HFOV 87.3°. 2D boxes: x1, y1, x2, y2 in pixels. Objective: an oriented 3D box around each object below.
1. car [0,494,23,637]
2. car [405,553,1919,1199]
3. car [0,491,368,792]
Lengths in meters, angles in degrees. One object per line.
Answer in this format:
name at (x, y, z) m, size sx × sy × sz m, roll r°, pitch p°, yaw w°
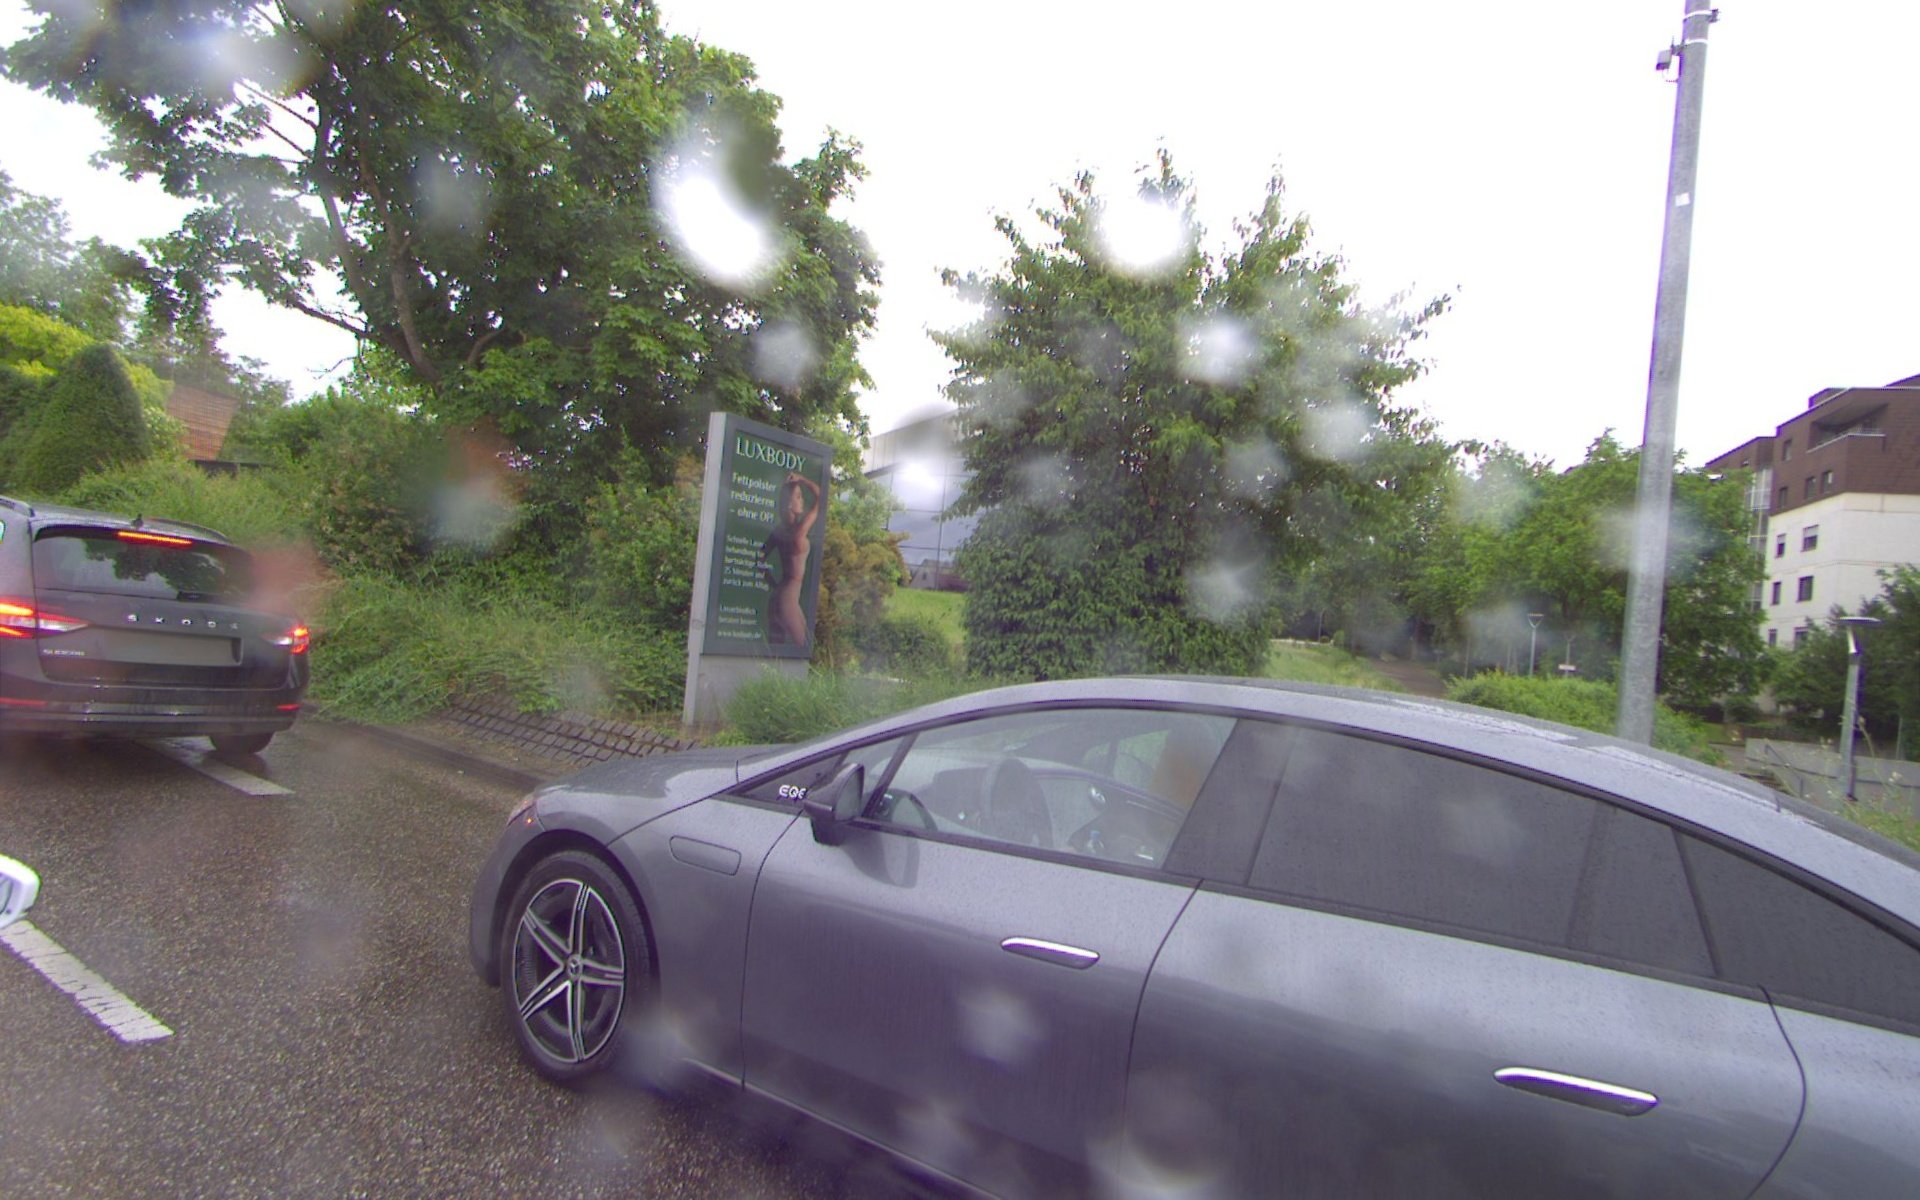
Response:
car at (-12.158, -0.658, 10.862) m, size 4.048 × 1.483 × 1.842 m, roll 7°, pitch -2°, yaw 31°
car at (0.739, 0.930, 2.884) m, size 4.728 × 1.483 × 1.842 m, roll 7°, pitch -2°, yaw 31°
car at (-6.104, 0.078, 6.749) m, size 4.279 × 1.483 × 1.841 m, roll 7°, pitch -2°, yaw 33°
